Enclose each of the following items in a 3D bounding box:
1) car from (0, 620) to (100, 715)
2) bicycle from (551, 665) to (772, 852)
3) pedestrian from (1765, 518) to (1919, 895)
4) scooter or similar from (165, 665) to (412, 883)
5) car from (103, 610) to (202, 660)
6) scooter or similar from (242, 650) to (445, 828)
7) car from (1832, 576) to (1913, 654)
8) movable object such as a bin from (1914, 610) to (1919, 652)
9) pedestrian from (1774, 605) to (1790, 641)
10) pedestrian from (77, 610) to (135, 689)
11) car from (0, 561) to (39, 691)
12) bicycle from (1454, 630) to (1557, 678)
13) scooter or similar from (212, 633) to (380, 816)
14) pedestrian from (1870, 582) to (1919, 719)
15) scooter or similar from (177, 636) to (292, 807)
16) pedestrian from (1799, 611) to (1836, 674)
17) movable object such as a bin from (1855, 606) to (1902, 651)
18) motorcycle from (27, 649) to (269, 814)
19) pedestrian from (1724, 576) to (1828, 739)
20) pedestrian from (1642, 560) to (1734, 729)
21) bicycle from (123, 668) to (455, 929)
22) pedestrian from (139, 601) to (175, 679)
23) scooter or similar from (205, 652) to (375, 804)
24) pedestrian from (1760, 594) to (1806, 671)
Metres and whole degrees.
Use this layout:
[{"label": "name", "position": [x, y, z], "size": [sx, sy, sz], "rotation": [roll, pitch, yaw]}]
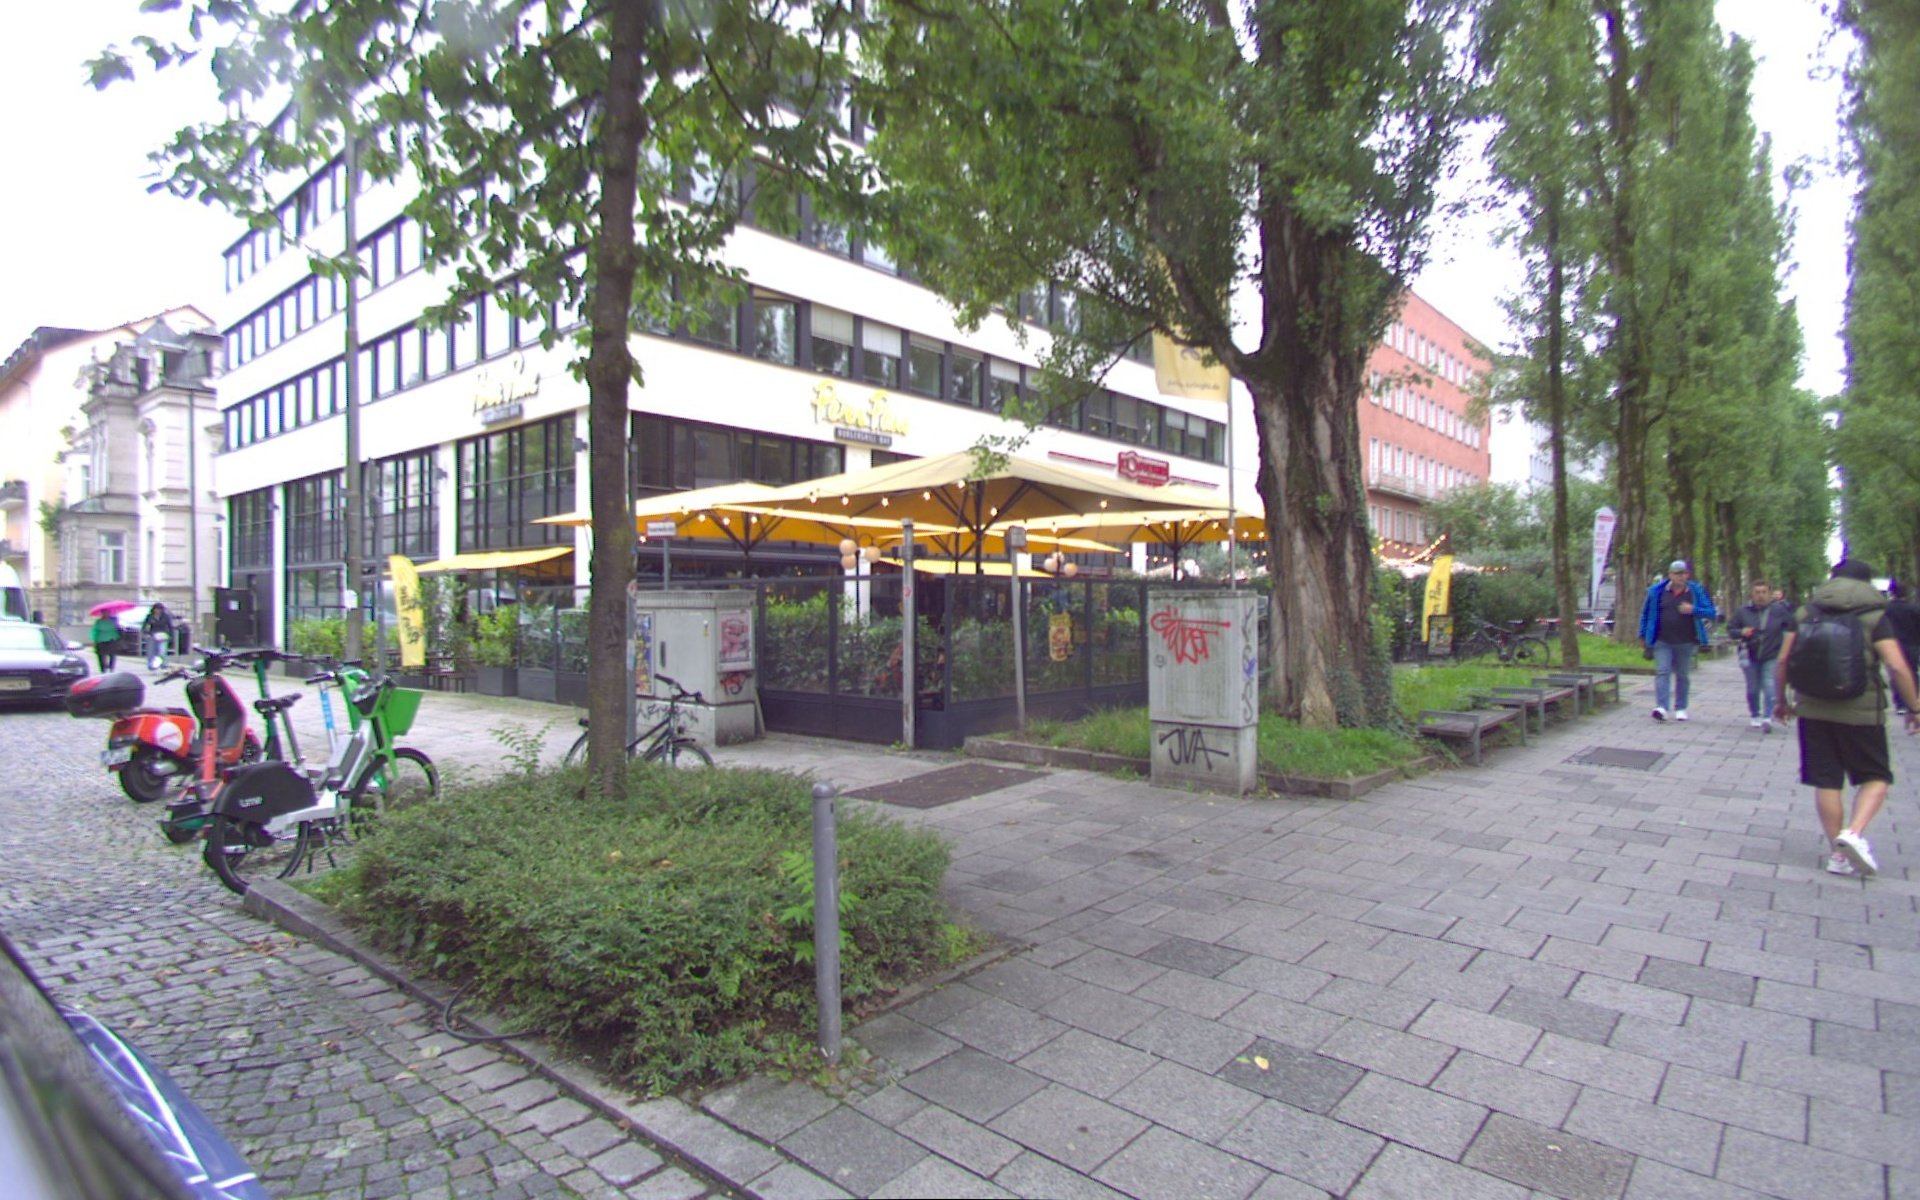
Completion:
[{"label": "car", "position": [-15.535, 1.027, 16.340], "size": [4.115, 1.340, 1.972], "rotation": [0, 0, 42]}, {"label": "bicycle", "position": [-2.055, 0.999, 6.841], "size": [1.761, 1.030, 0.546], "rotation": [0, -1, 40]}, {"label": "pedestrian", "position": [4.656, 0.505, 5.174], "size": [0.695, 1.786, 0.753], "rotation": [0, -1, -44]}, {"label": "scooter or similar", "position": [-4.250, 1.043, 6.518], "size": [0.366, 1.153, 1.422], "rotation": [0, 0, 17]}, {"label": "car", "position": [-27.064, 1.115, 33.885], "size": [4.167, 1.544, 1.888], "rotation": [0, -1, 41]}, {"label": "scooter or similar", "position": [-4.495, 0.974, 7.437], "size": [0.327, 1.153, 1.234], "rotation": [-1, -1, 41]}, {"label": "car", "position": [38.303, 0.603, 42.620], "size": [2.198, 3.040, 5.921], "rotation": [0, -1, 39]}, {"label": "movable object such as a bin", "position": [31.133, 0.990, 32.184], "size": [1.062, 1.321, 0.971], "rotation": [0, -1, 39]}, {"label": "pedestrian", "position": [38.948, 1.073, 47.946], "size": [0.514, 1.705, 0.505], "rotation": [0, -1, -45]}, {"label": "pedestrian", "position": [-19.209, 1.096, 22.770], "size": [0.800, 1.719, 0.916], "rotation": [0, -1, 43]}, {"label": "car", "position": [-20.993, 0.513, 20.958], "size": [5.844, 2.510, 2.039], "rotation": [0, -1, 40]}, {"label": "bicycle", "position": [11.297, 1.101, 21.003], "size": [1.800, 0.919, 0.612], "rotation": [0, -1, 39]}, {"label": "scooter or similar", "position": [-5.117, 0.910, 7.877], "size": [0.324, 1.282, 1.247], "rotation": [0, -1, 10]}, {"label": "pedestrian", "position": [12.402, 0.640, 13.099], "size": [0.857, 1.724, 0.946], "rotation": [0, -1, 39]}, {"label": "scooter or similar", "position": [-6.085, 0.966, 8.545], "size": [0.322, 1.282, 1.361], "rotation": [0, 0, -15]}, {"label": "pedestrian", "position": [23.723, 1.156, 28.002], "size": [0.637, 1.705, 0.736], "rotation": [0, -1, -45]}, {"label": "movable object such as a bin", "position": [29.696, 0.909, 32.733], "size": [1.062, 1.415, 0.971], "rotation": [0, -1, 39]}, {"label": "motorcycle", "position": [-6.827, 1.043, 8.671], "size": [0.758, 1.205, 1.996], "rotation": [1, -2, -11]}, {"label": "pedestrian", "position": [9.042, 0.613, 11.237], "size": [0.697, 1.741, 0.641], "rotation": [0, -1, 18]}, {"label": "pedestrian", "position": [8.610, 0.511, 11.994], "size": [0.697, 1.922, 0.641], "rotation": [0, -1, 18]}, {"label": "bicycle", "position": [-3.730, 1.026, 5.830], "size": [0.548, 1.152, 1.757], "rotation": [0, 0, 10]}, {"label": "pedestrian", "position": [-18.375, 0.898, 23.169], "size": [0.651, 1.761, 0.567], "rotation": [-1, -1, 45]}, {"label": "scooter or similar", "position": [-5.512, 1.031, 8.334], "size": [1.237, 1.189, 0.389], "rotation": [0, -1, 10]}, {"label": "pedestrian", "position": [18.630, 0.714, 22.910], "size": [0.637, 1.705, 0.736], "rotation": [0, -1, -45]}]
